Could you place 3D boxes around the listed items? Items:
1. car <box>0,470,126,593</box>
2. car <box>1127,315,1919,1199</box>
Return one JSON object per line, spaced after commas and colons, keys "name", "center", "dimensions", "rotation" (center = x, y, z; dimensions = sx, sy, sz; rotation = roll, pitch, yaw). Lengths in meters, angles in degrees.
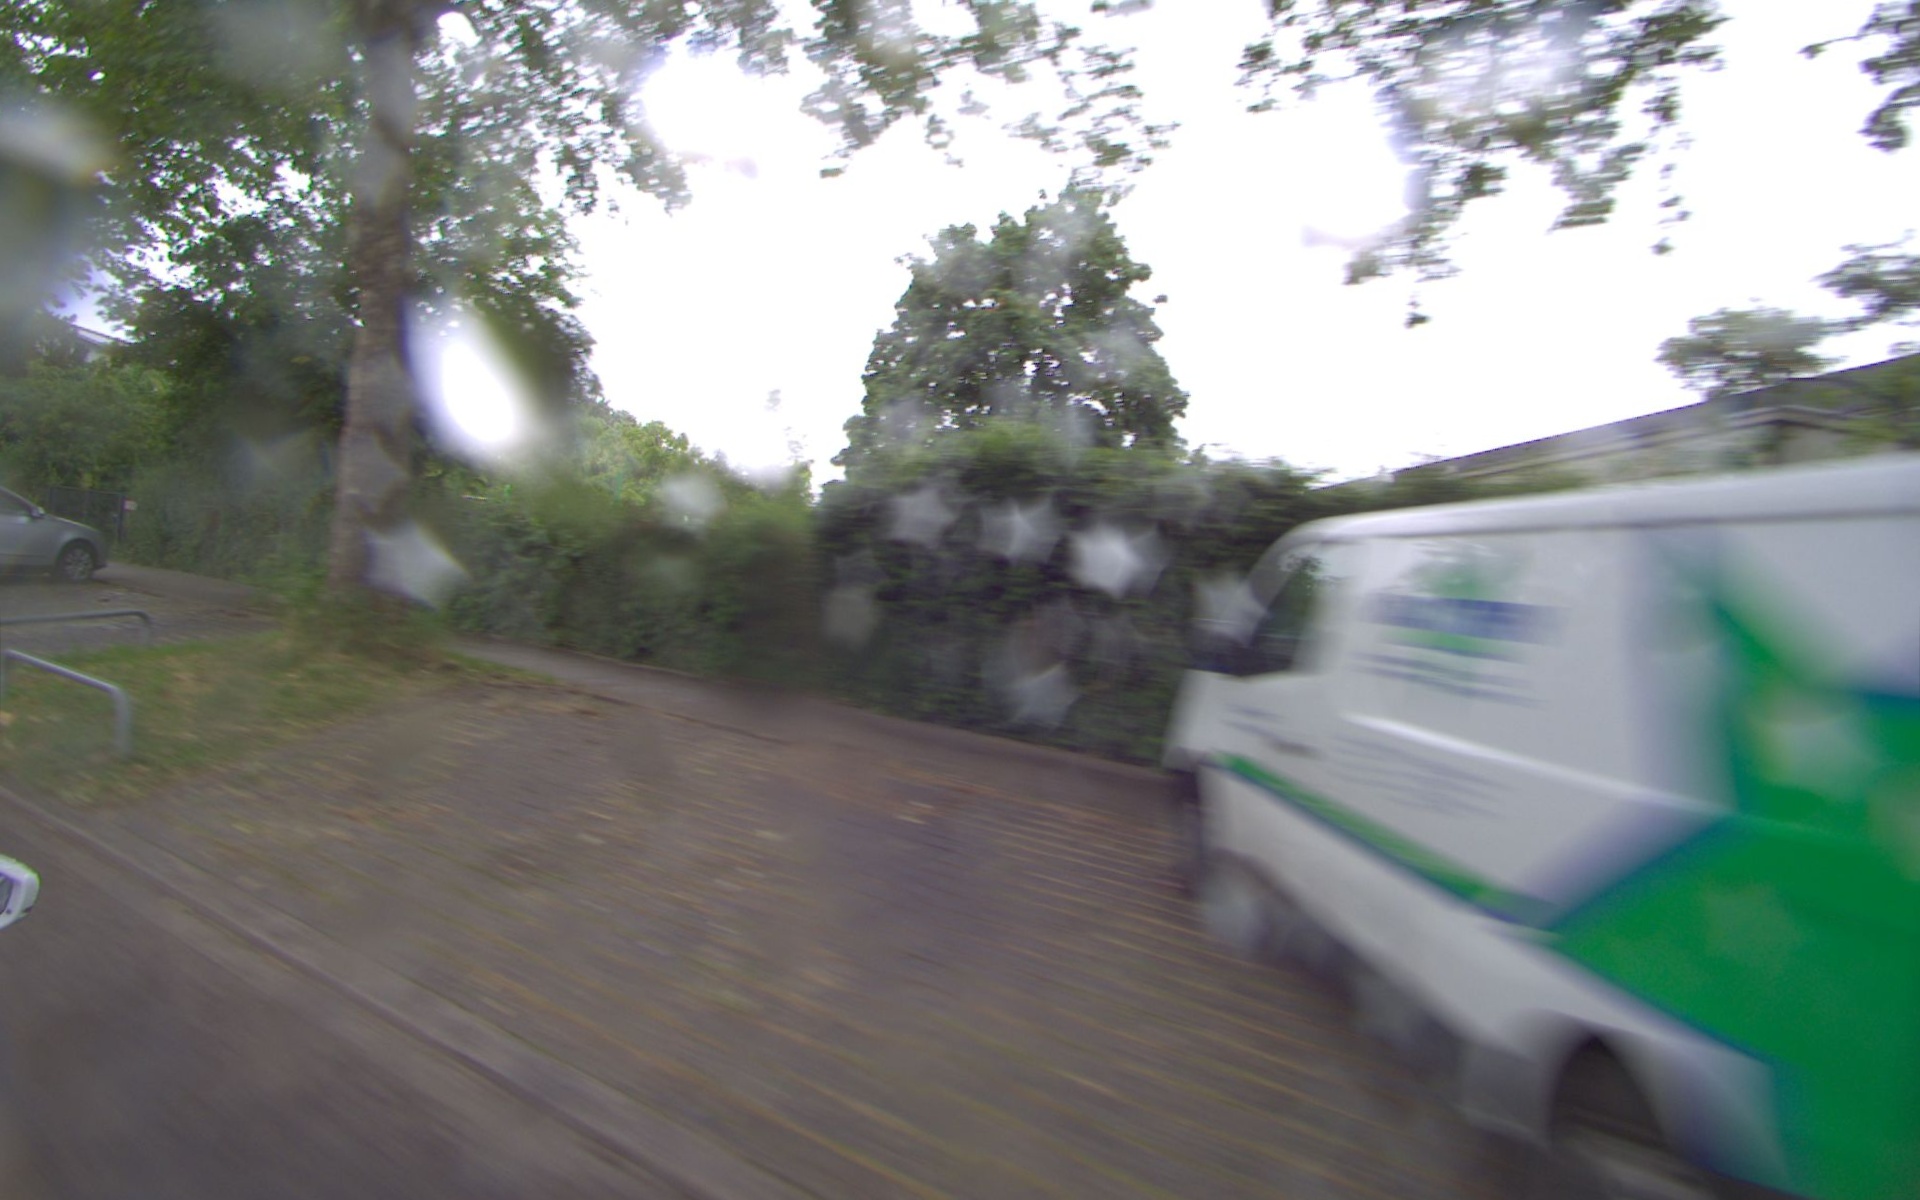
{"name": "car", "center": [-13.626, -0.969, 12.989], "dimensions": [1.853, 1.566, 4.554], "rotation": [7, 3, 0]}
{"name": "car", "center": [2.264, 0.608, 3.762], "dimensions": [1.964, 2.040, 5.022], "rotation": [7, 2, -3]}
